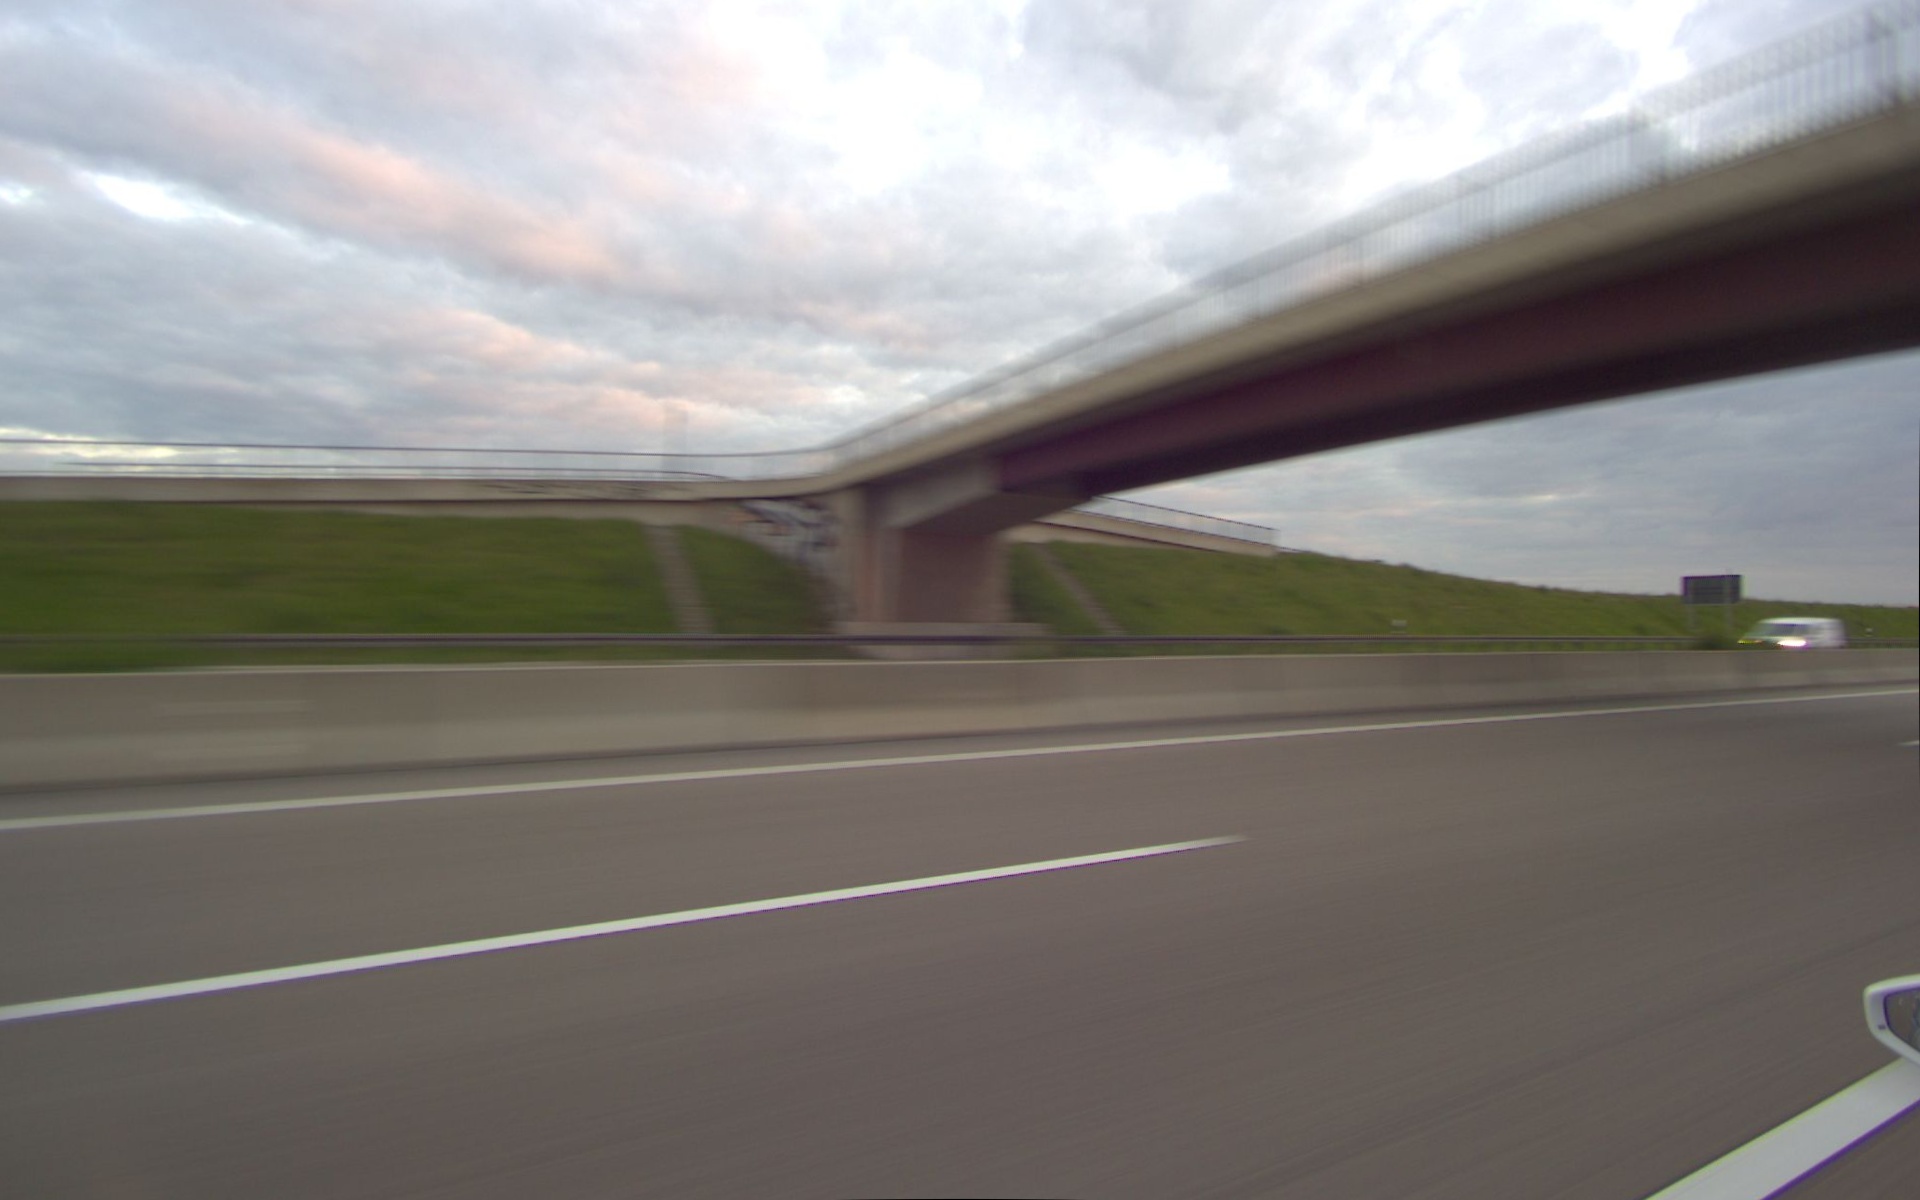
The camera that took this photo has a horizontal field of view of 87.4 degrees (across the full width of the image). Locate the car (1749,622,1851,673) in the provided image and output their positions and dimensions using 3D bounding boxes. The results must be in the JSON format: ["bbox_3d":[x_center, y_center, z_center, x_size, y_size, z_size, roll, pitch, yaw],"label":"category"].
[{"bbox_3d":[35.058,1.952,41.902,4.838,1.961,1.813,1,0,-32],"label":"car"}]
